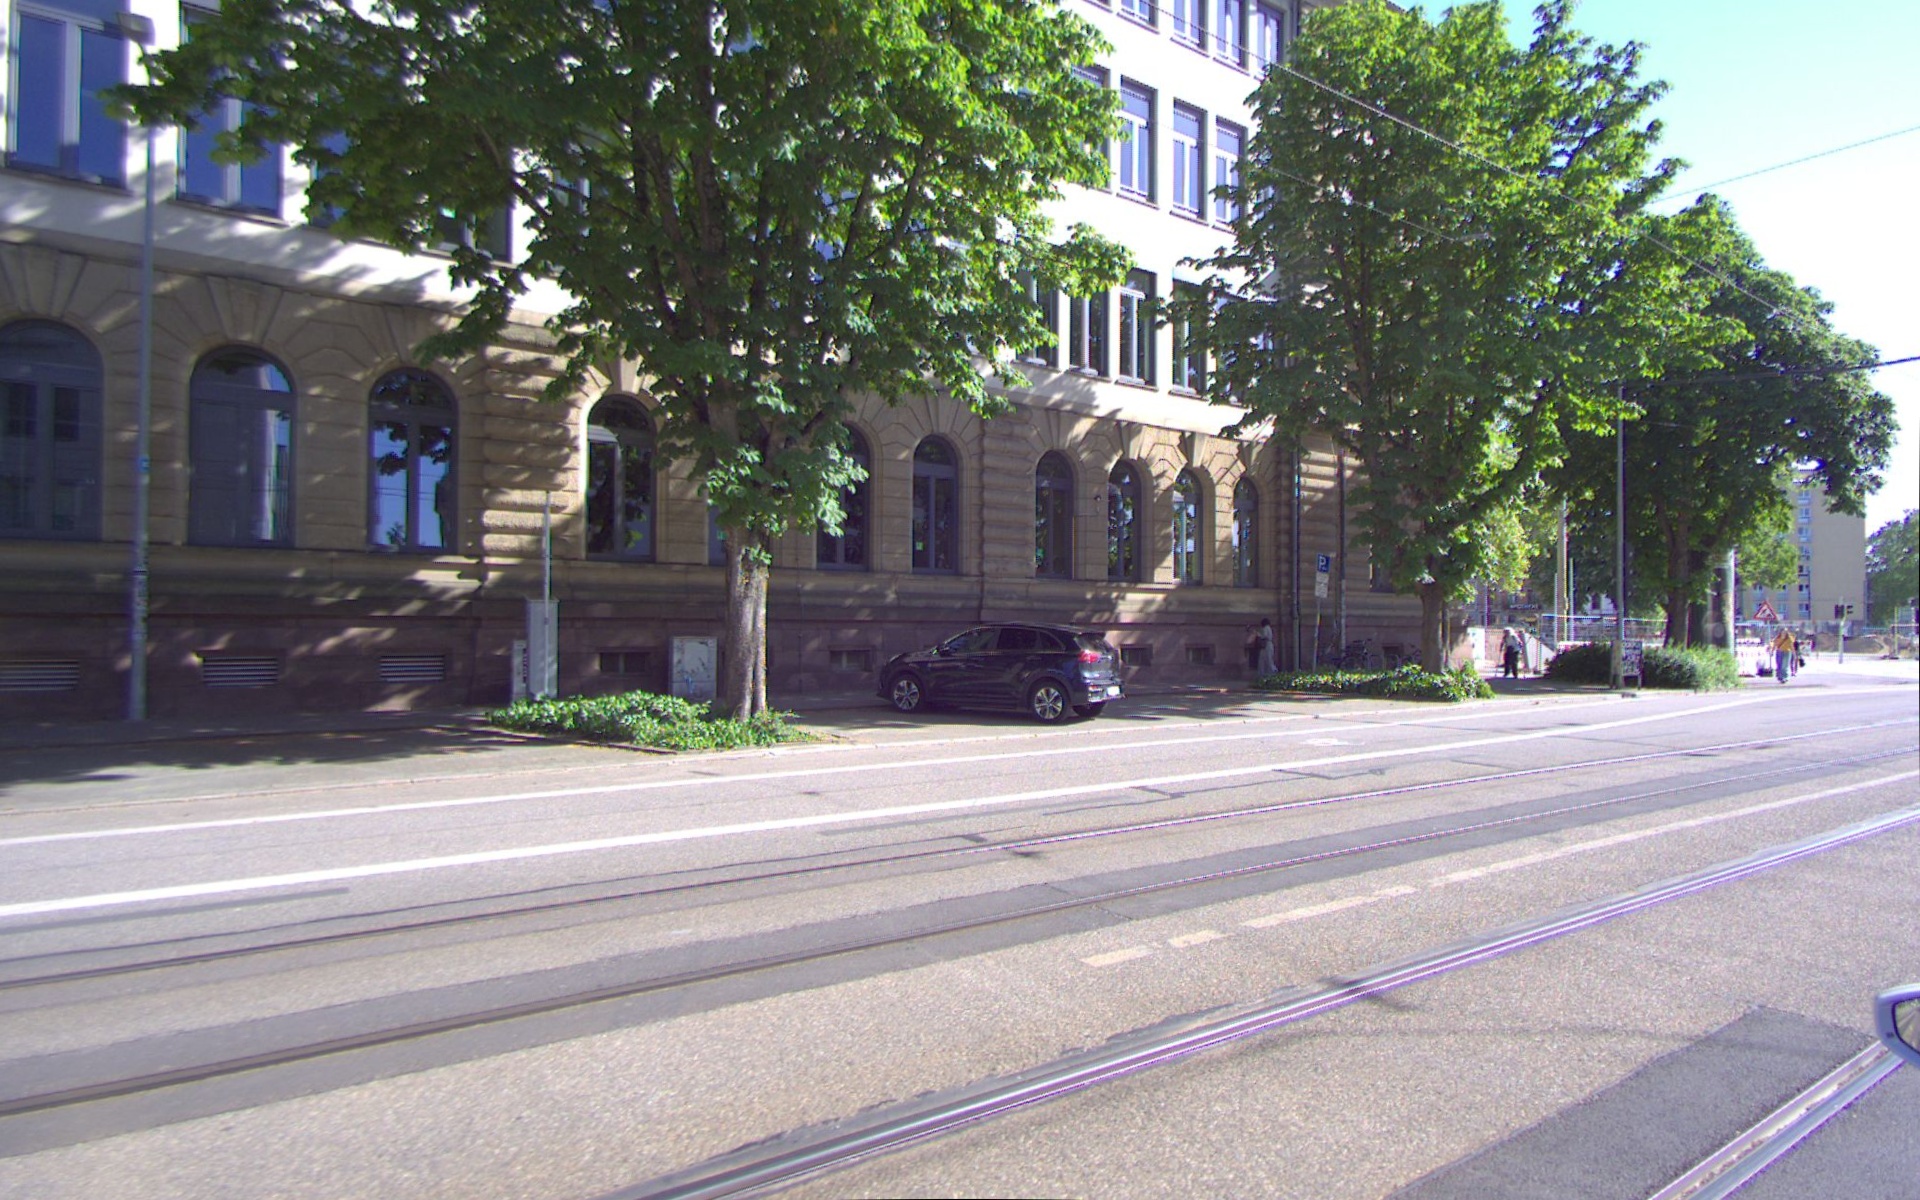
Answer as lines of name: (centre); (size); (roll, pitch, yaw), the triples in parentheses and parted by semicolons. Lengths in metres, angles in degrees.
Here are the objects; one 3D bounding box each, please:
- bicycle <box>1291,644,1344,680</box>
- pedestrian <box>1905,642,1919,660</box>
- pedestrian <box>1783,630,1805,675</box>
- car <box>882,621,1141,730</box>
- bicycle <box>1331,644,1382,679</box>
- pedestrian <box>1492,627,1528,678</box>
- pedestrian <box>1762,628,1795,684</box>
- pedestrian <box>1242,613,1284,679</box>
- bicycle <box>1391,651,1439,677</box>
bicycle: (9.714, 1.674, 27.262); (1.602, 0.929, 0.478); (2, -2, -32)
pedestrian: (55.856, 2.981, 58.608); (0.648, 1.060, 0.893); (1, -1, -32)
pedestrian: (32.257, 2.029, 38.854); (0.610, 1.719, 0.677); (0, -1, 36)
car: (0.852, 1.176, 16.923); (3.929, 1.570, 1.874); (1, -1, 30)
bicycle: (11.153, 1.719, 28.218); (1.602, 0.929, 0.478); (2, -2, -32)
pedestrian: (16.870, 1.601, 30.810); (0.908, 1.524, 0.703); (0, -1, 35)
pedestrian: (25.572, 1.736, 31.369); (0.813, 1.719, 0.630); (2, -3, -41)
pedestrian: (7.843, 1.187, 25.987); (0.751, 1.657, 0.696); (1, 1, -33)
bicycle: (13.527, 1.893, 29.850); (1.602, 0.734, 0.478); (2, -2, -32)
